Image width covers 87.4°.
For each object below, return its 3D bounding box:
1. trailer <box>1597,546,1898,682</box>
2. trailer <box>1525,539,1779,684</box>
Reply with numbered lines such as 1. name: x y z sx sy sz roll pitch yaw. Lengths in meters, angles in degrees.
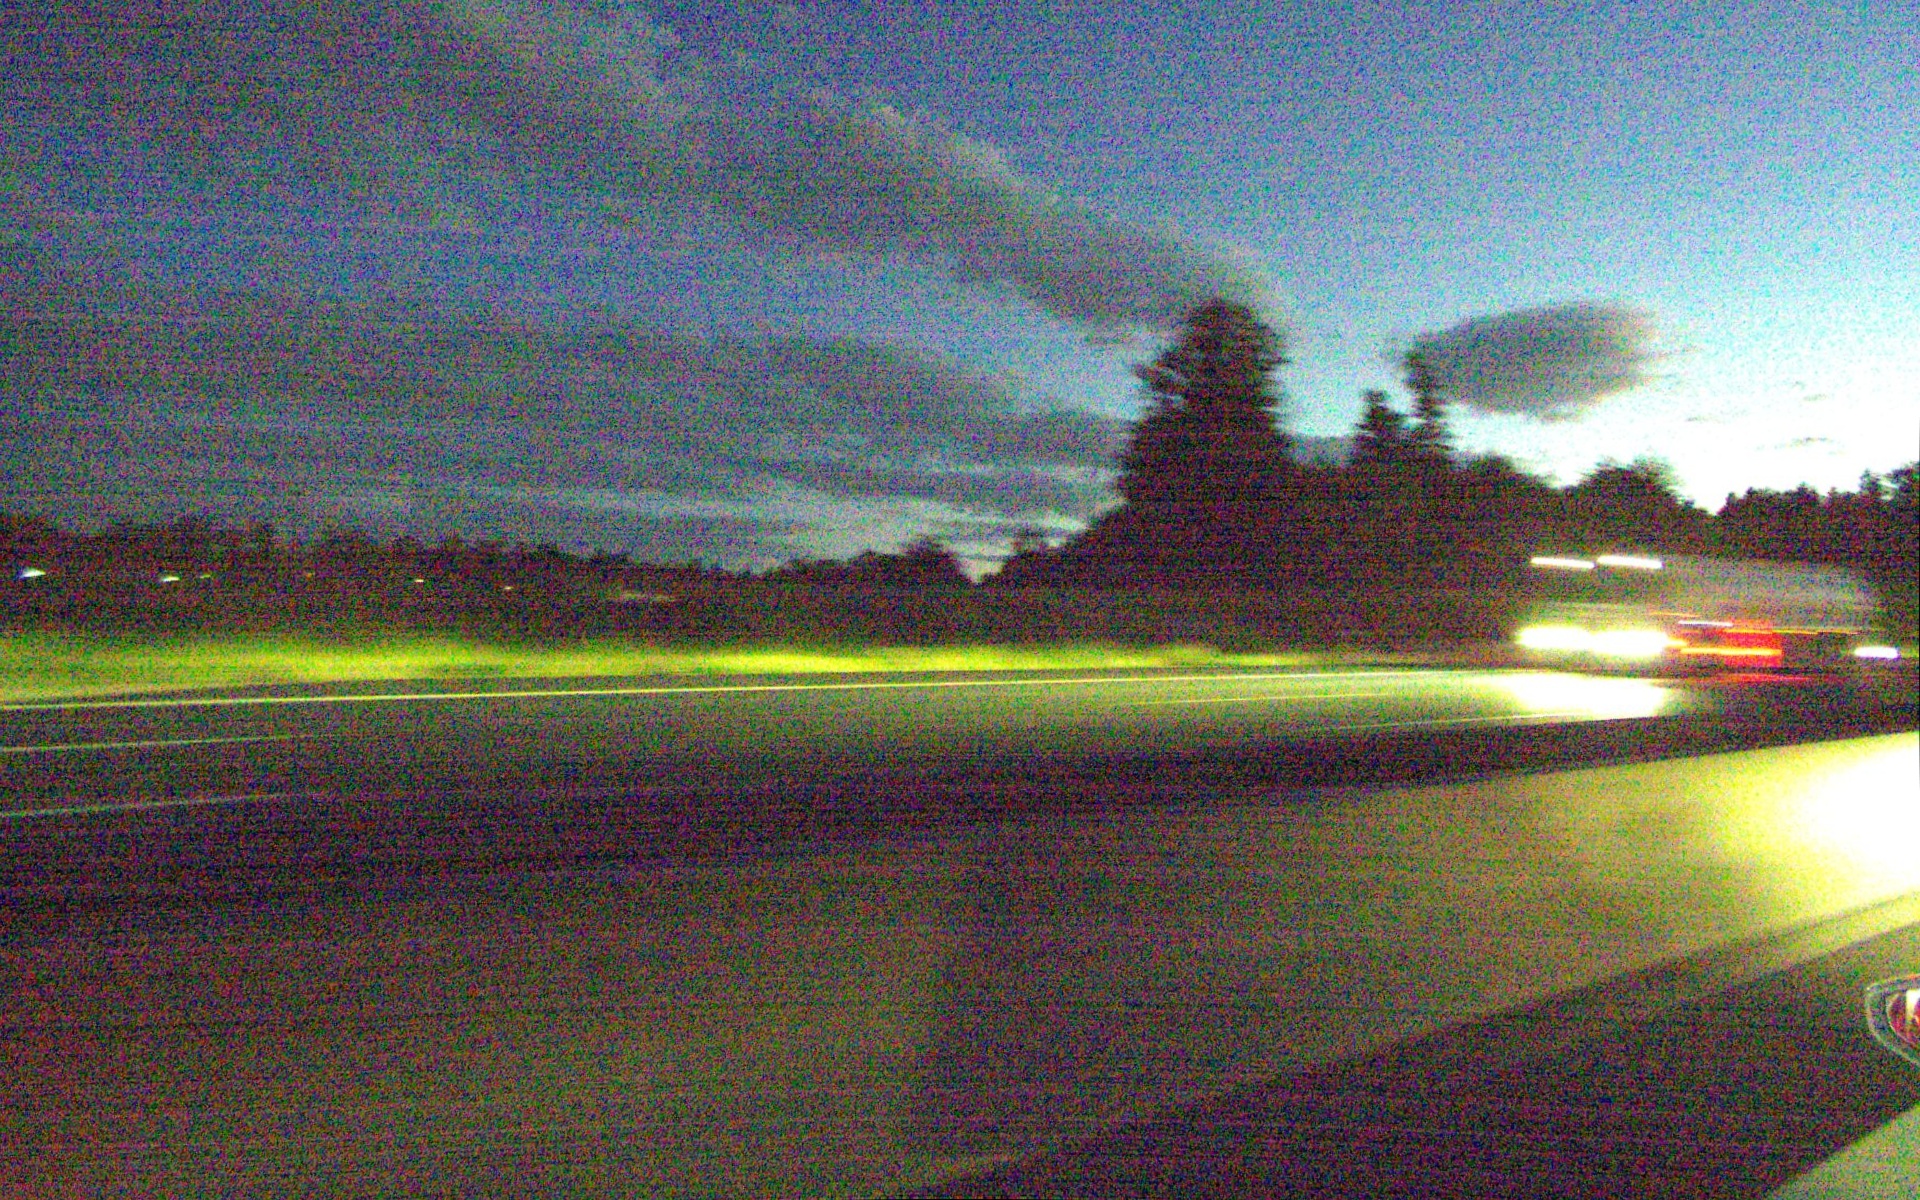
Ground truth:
1. trailer: 25.089 0.536 31.735 11.541 3.738 3.045 2 0 -28
2. trailer: 20.026 0.371 28.997 7.139 3.738 3.045 2 0 -28
